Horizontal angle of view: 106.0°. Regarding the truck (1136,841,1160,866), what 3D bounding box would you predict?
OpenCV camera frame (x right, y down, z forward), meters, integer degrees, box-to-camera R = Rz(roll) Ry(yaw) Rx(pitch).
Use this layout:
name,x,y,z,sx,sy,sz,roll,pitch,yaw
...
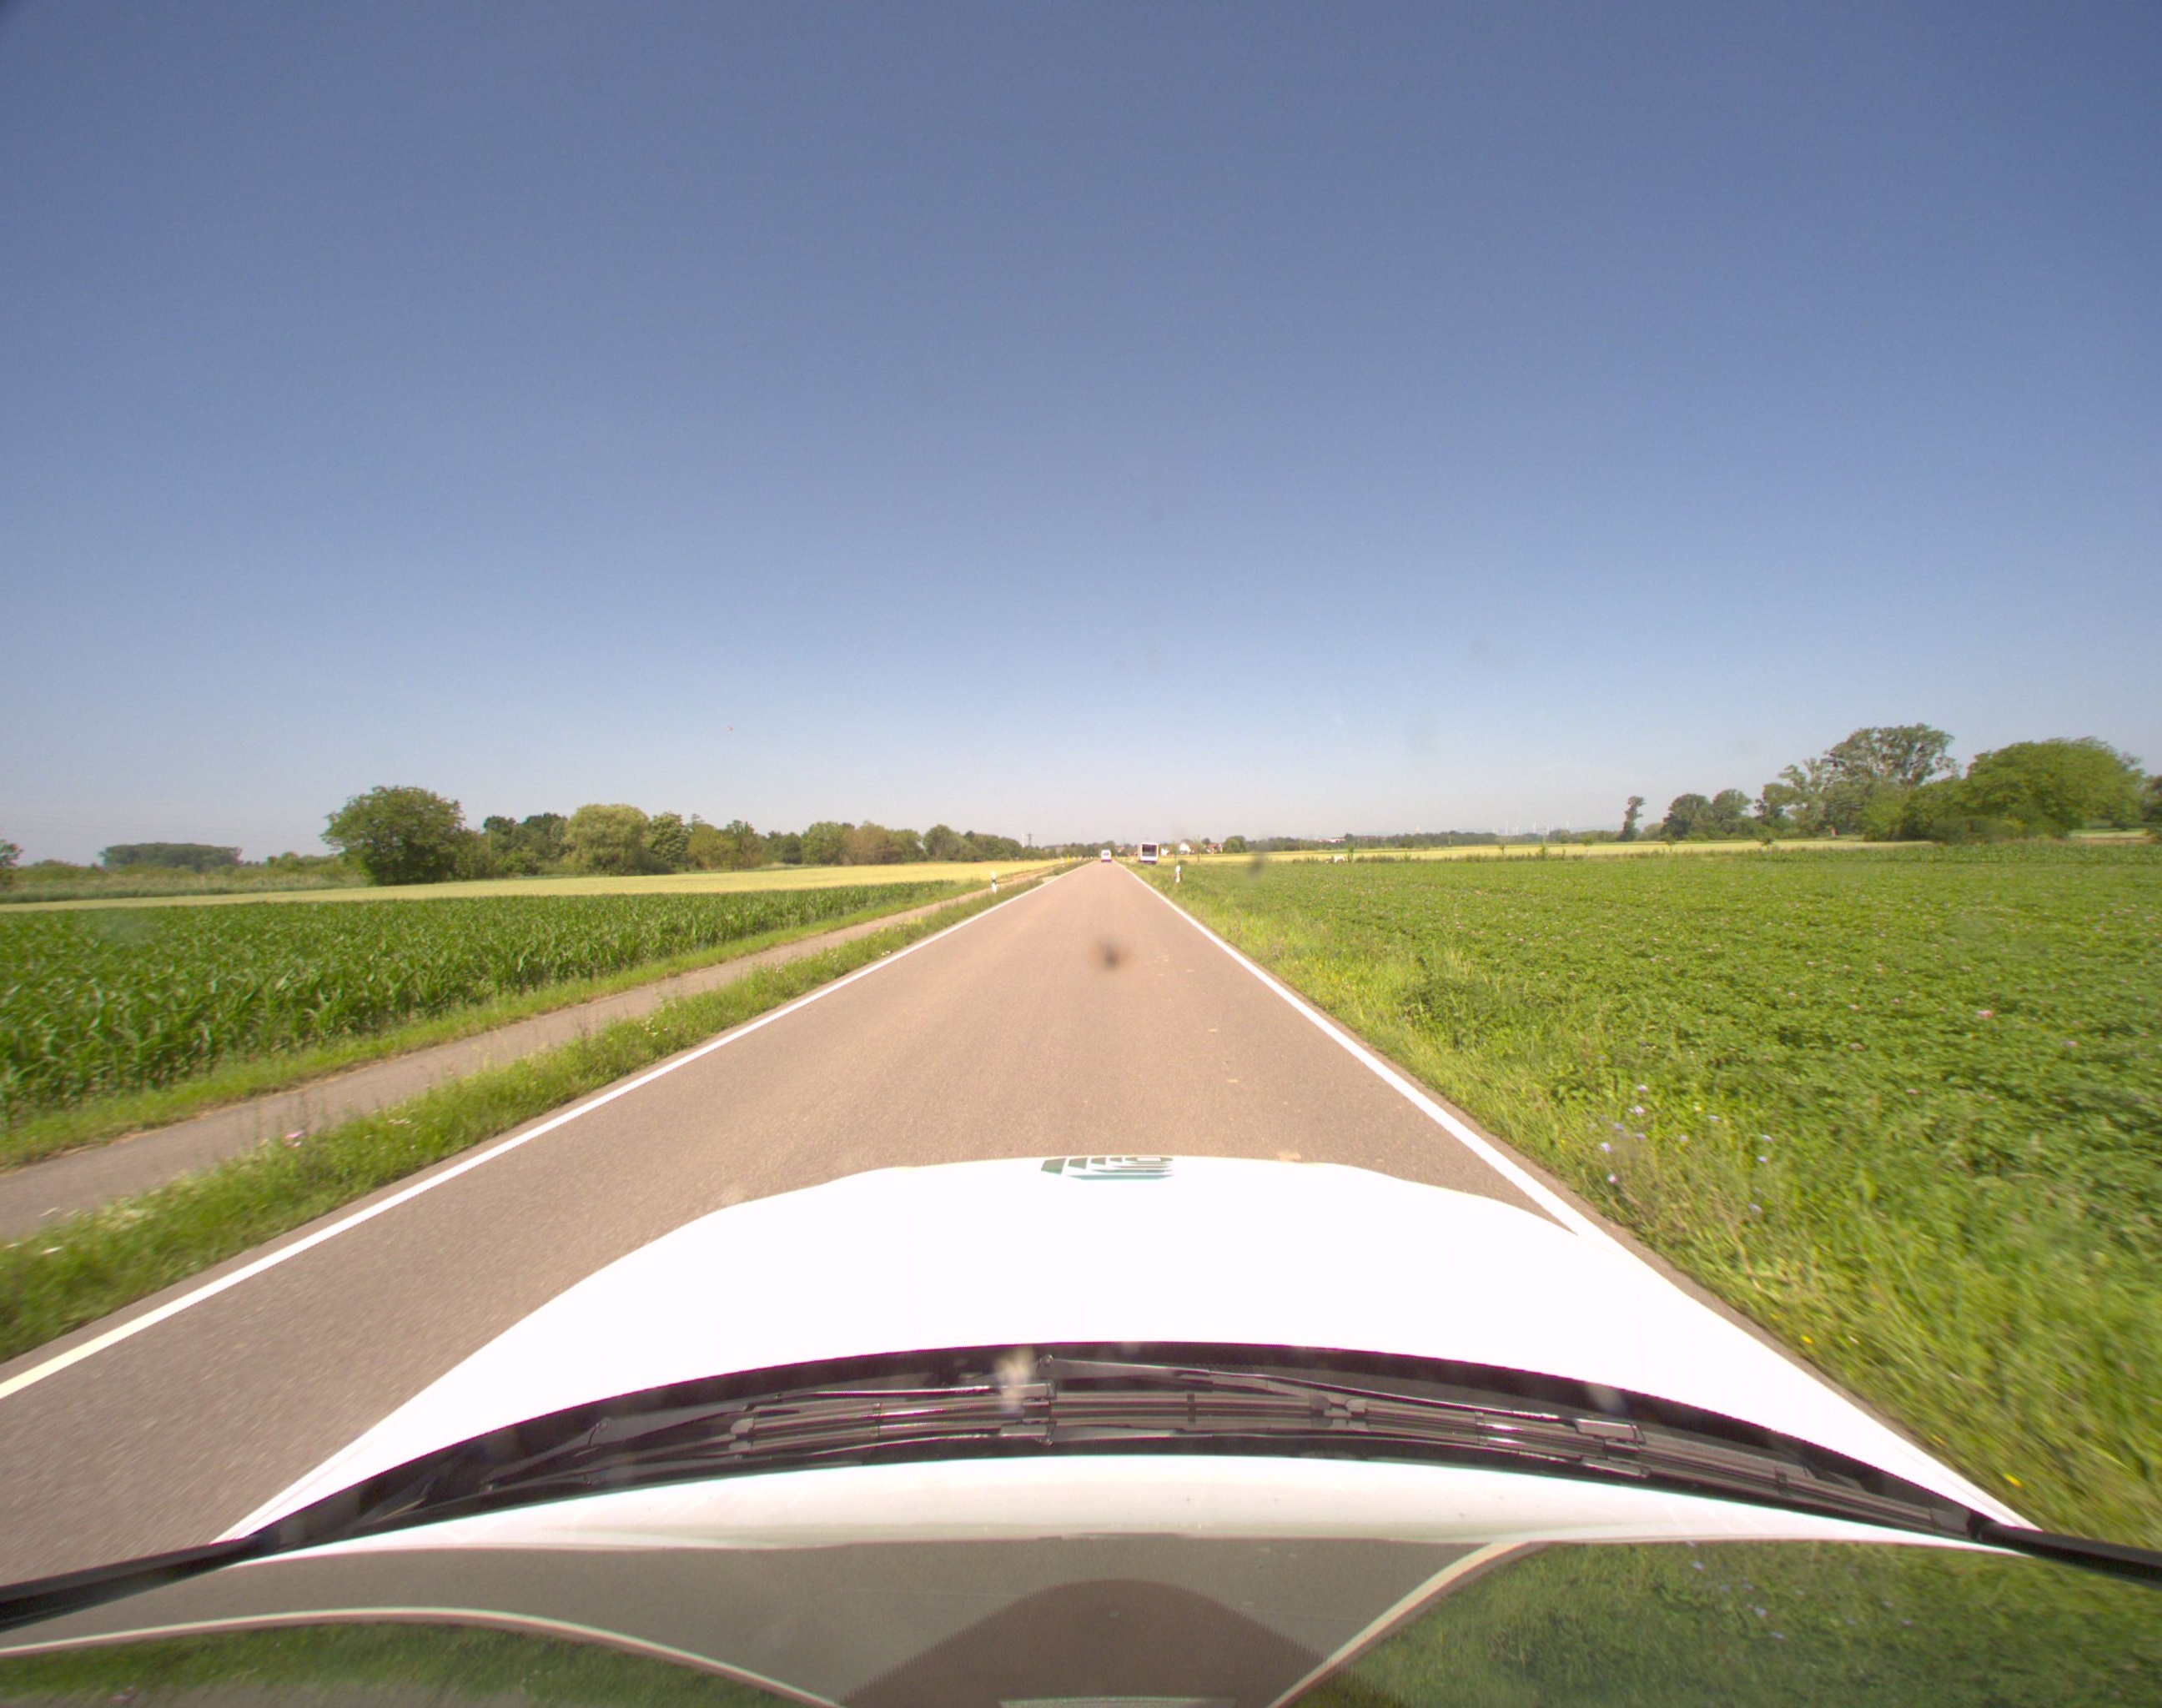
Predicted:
name,x,y,z,sx,sy,sz,roll,pitch,yaw
truck,8.342,-0.044,102.186,2.328,2.942,7.007,2,0,0

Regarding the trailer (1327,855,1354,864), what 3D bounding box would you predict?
name,x,y,z,sx,sy,sz,roll,pitch,yaw
trailer,35.761,0.710,112.292,3.560,1.189,1.669,0,0,13

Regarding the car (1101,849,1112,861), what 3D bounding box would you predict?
name,x,y,z,sx,sy,sz,roll,pitch,yaw
car,5.243,0.229,166.857,2.099,2.304,5.497,0,0,2
